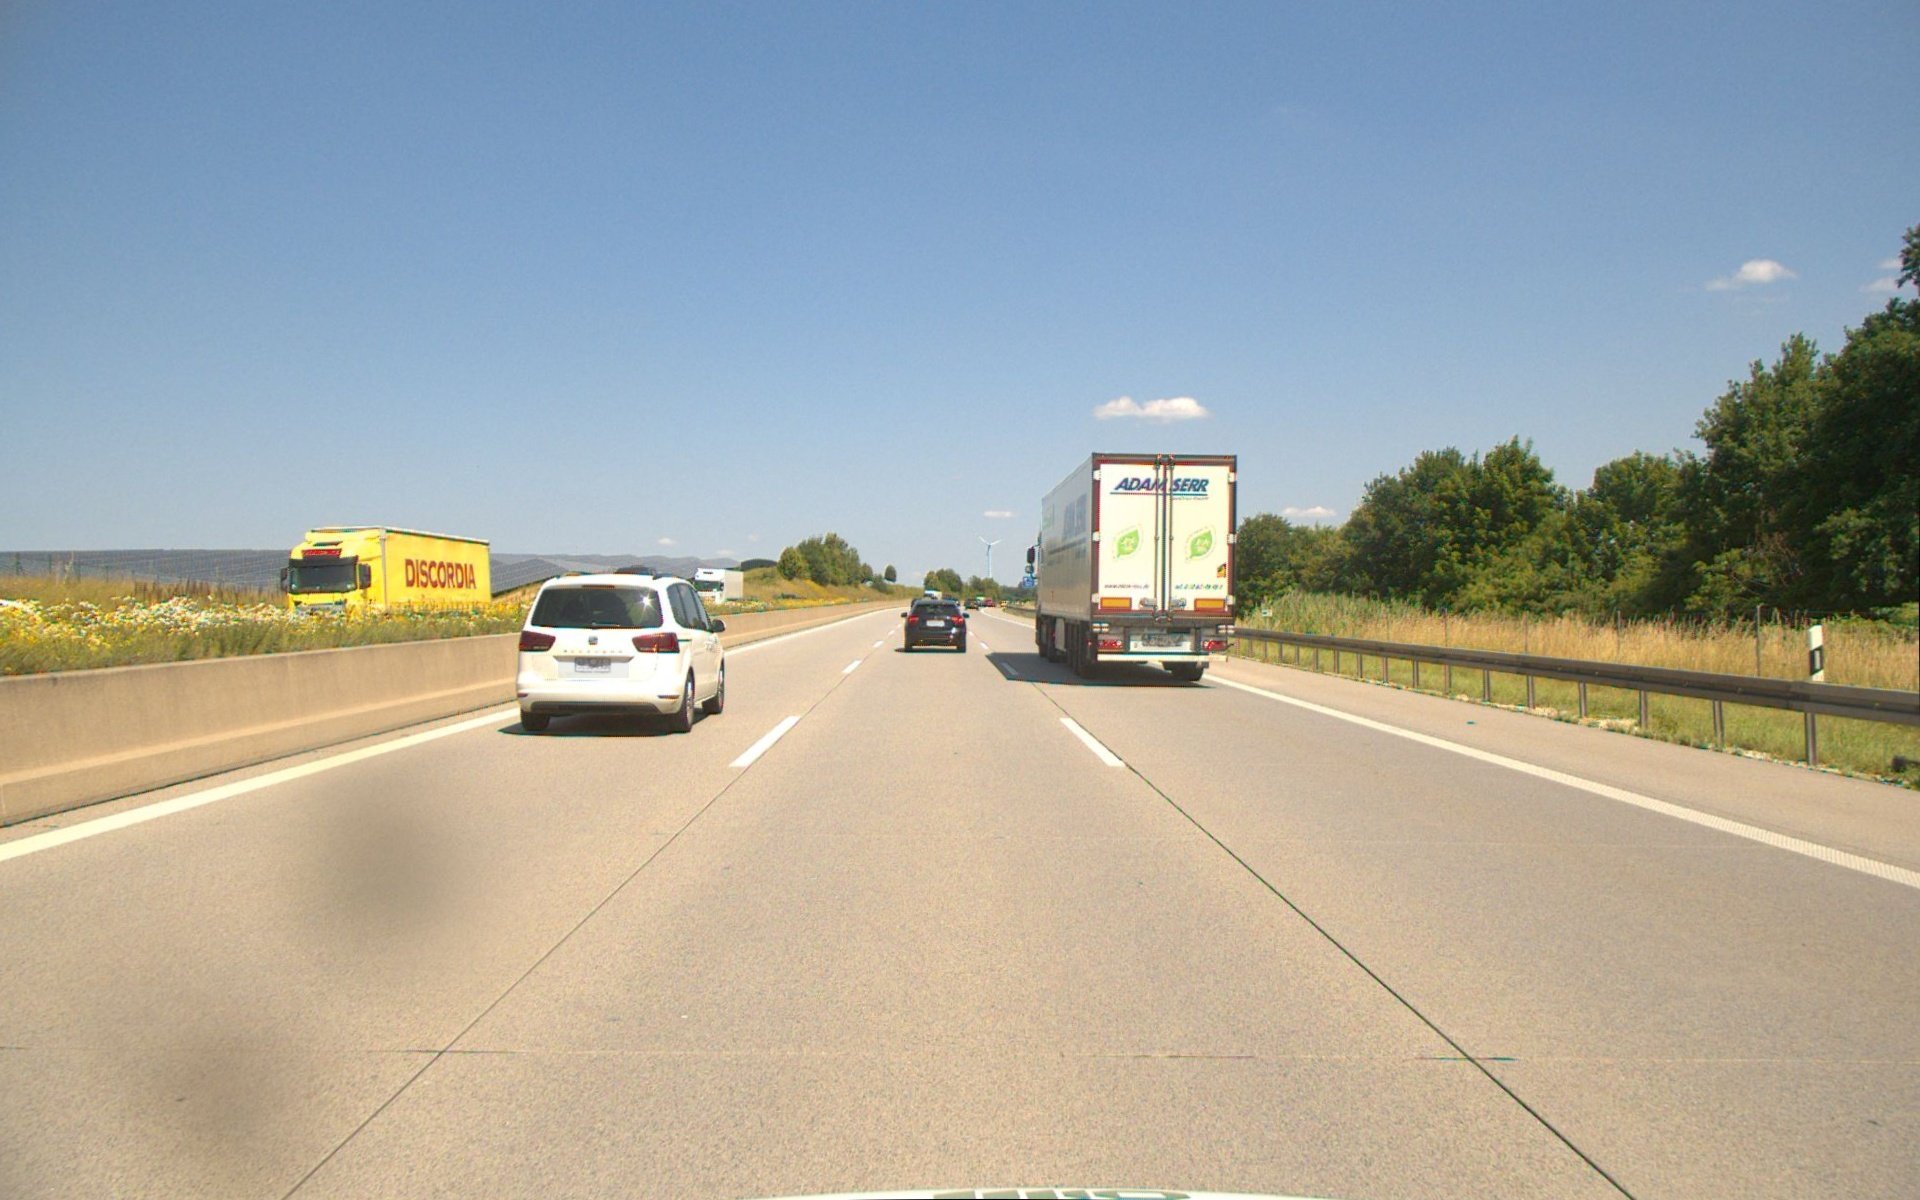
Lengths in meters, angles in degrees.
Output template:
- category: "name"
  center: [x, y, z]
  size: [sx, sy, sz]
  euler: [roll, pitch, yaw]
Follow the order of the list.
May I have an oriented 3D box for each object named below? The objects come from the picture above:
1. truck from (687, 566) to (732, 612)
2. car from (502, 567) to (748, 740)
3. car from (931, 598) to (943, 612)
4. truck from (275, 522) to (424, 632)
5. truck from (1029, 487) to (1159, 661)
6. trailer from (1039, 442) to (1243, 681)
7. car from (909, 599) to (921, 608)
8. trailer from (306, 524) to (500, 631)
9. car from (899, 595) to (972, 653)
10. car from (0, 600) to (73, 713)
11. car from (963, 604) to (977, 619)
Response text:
- category: "truck"
  center: [-22.789, -0.964, 150.508]
  size: [3.028, 4.074, 7.252]
  euler: [1, -1, -1]
- category: "car"
  center: [-3.829, 0.575, 20.007]
  size: [1.808, 1.738, 6.034]
  euler: [1, 0, -1]
- category: "car"
  center: [-3.471, 0.715, 246.516]
  size: [1.790, 1.971, 3.808]
  euler: [1, 0, -1]
- category: "truck"
  center: [-21.082, -0.736, 57.480]
  size: [2.863, 3.602, 6.346]
  euler: [0, 0, -1]
- category: "truck"
  center: [3.367, -0.617, 42.944]
  size: [2.755, 4.159, 5.797]
  euler: [1, 0, -1]
- category: "trailer"
  center: [3.460, -0.671, 35.212]
  size: [2.794, 4.113, 12.711]
  euler: [1, 0, 0]
- category: "car"
  center: [-6.350, 0.456, 234.489]
  size: [1.622, 1.217, 3.959]
  euler: [4, 0, -1]
- category: "trailer"
  center: [-21.158, -0.723, 64.062]
  size: [2.872, 3.613, 14.017]
  euler: [1, 0, -1]
- category: "car"
  center: [-0.750, 0.636, 47.130]
  size: [1.872, 1.518, 4.189]
  euler: [2, 0, -3]
- category: "car"
  center: [-13.572, 0.751, 22.529]
  size: [1.377, 1.509, 2.965]
  euler: [1, 0, -1]
- category: "car"
  center: [1.311, 1.548, 219.649]
  size: [1.789, 1.940, 4.000]
  euler: [1, 0, 0]
